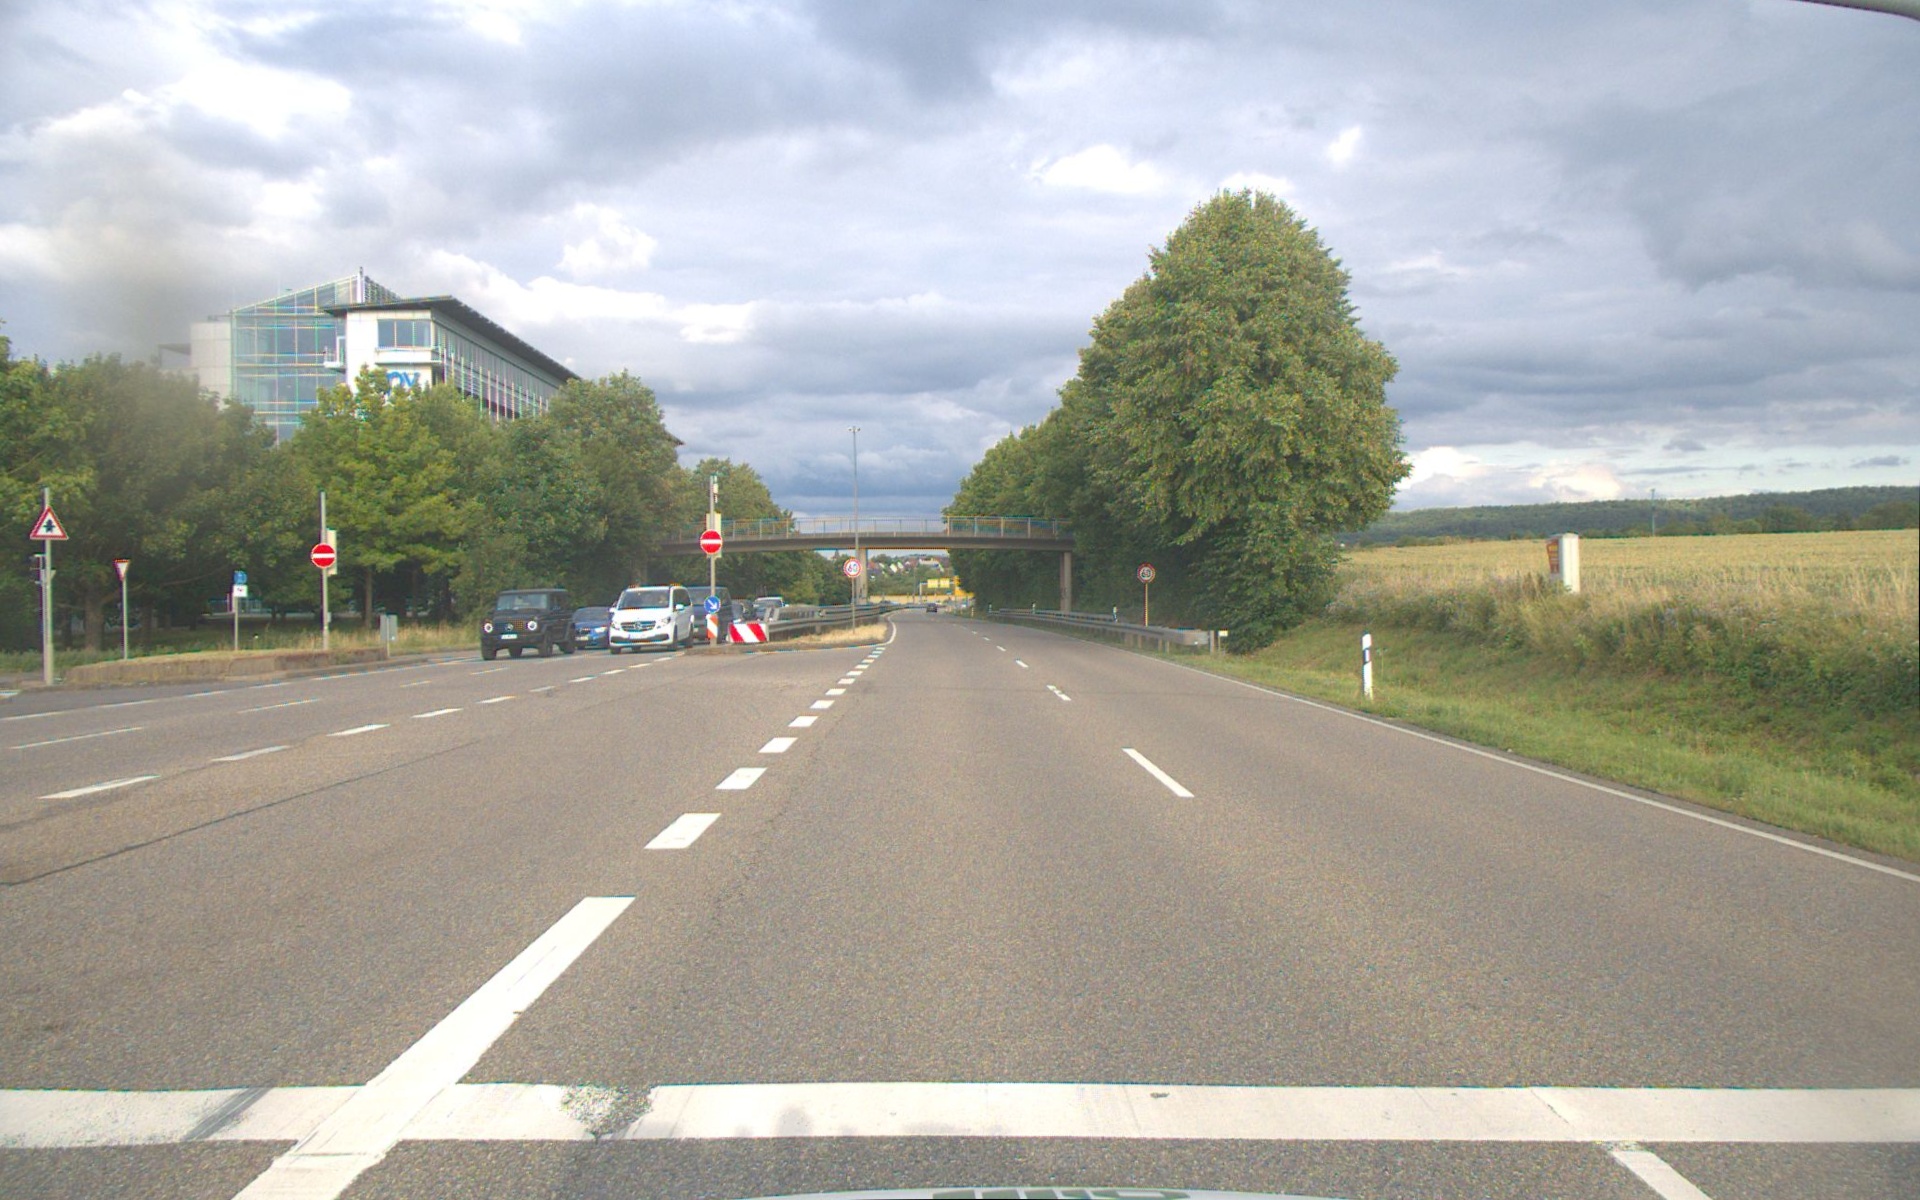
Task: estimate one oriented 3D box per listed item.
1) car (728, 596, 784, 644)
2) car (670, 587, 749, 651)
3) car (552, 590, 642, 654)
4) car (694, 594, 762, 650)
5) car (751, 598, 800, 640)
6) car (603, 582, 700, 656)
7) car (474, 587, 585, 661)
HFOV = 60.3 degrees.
[{"bbox_3d":[-9.247,0.898,75.469,2.041,2.049,5.214,1,0,-2],"label":"car"},{"bbox_3d":[-8.563,0.643,56.937,2.041,2.049,5.214,1,0,-2],"label":"car"},{"bbox_3d":[-12.328,0.733,56.532,2.041,2.049,5.214,1,0,-2],"label":"car"},{"bbox_3d":[-9.000,0.845,64.494,2.041,2.049,5.214,1,0,-2],"label":"car"},{"bbox_3d":[-9.468,0.946,85.283,2.041,2.049,5.214,1,0,-2],"label":"car"},{"bbox_3d":[-9.104,0.547,49.193,2.041,2.049,5.214,1,0,-2],"label":"car"},{"bbox_3d":[-12.664,0.686,49.027,2.041,2.049,5.214,1,0,-2],"label":"car"}]
